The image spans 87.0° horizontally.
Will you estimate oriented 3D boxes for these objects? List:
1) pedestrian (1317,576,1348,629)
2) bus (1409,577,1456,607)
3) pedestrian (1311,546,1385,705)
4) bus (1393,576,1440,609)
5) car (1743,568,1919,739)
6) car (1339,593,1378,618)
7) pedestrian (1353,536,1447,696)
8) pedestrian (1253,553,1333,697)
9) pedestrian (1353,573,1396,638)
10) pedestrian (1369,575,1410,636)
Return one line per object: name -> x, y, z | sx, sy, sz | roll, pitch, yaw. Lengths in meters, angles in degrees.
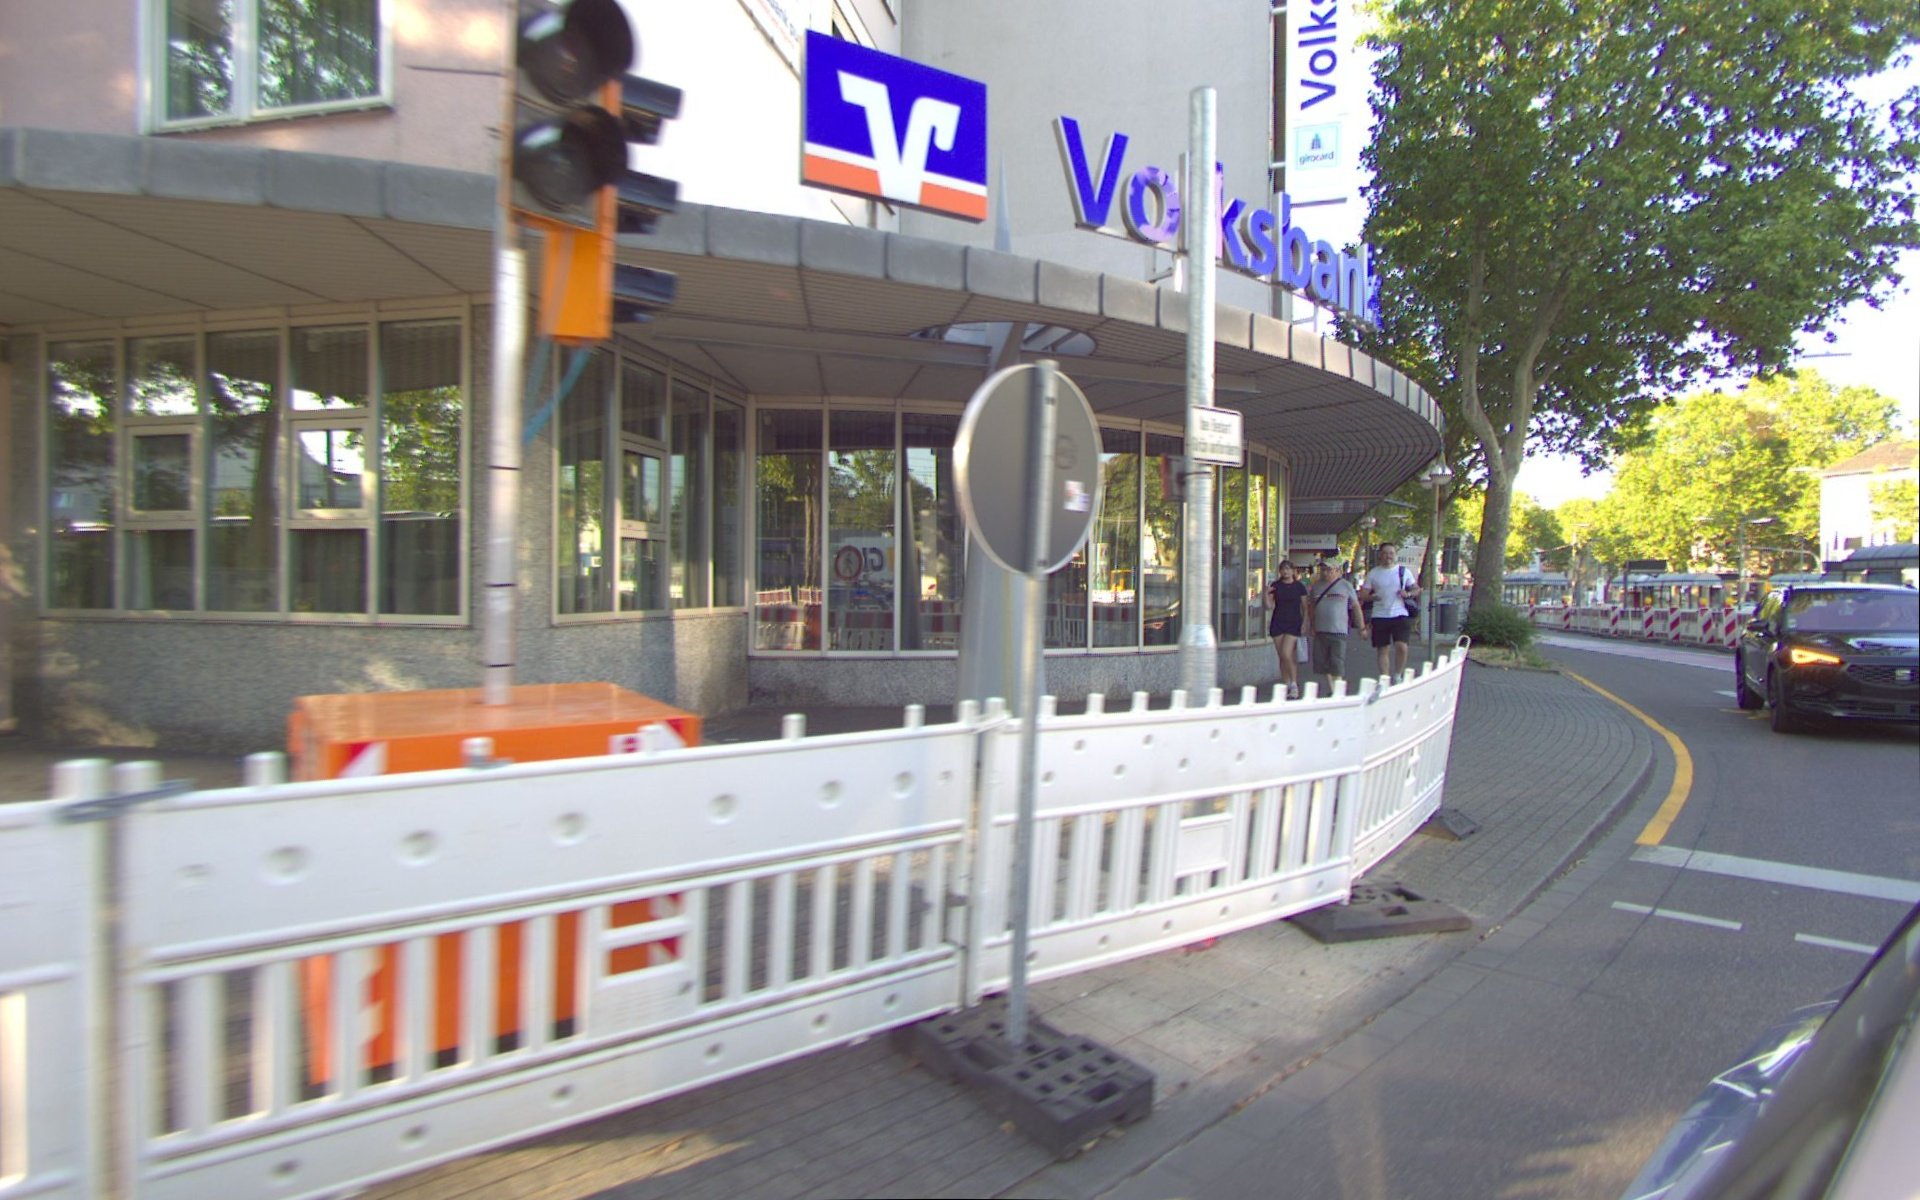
pedestrian -> 12.321, 0.074, 33.505 | 0.835, 1.694, 0.984 | 2, 1, 17
bus -> 54.243, -0.825, 115.959 | 2.722, 3.248, 12.205 | -2, -1, 35
pedestrian -> 4.447, 0.276, 11.580 | 0.580, 1.729, 0.672 | 5, 2, 31
bus -> 48.538, -0.767, 107.449 | 2.719, 3.248, 12.161 | -2, -1, 33
car -> 10.513, 0.508, 11.610 | 1.985, 1.668, 4.156 | -1, 0, 32
car -> 27.675, 0.370, 70.386 | 1.896, 1.618, 4.769 | 2, 1, 14
pedestrian -> 5.634, 0.186, 13.019 | 0.829, 1.892, 1.093 | 5, 1, 17
pedestrian -> 3.918, 0.273, 11.898 | 0.630, 1.592, 0.766 | 5, 2, 31
pedestrian -> 11.659, 0.138, 28.477 | 0.890, 1.731, 1.065 | 5, 1, 17
pedestrian -> 12.820, 0.148, 30.253 | 0.890, 1.718, 1.065 | 5, 1, 17
